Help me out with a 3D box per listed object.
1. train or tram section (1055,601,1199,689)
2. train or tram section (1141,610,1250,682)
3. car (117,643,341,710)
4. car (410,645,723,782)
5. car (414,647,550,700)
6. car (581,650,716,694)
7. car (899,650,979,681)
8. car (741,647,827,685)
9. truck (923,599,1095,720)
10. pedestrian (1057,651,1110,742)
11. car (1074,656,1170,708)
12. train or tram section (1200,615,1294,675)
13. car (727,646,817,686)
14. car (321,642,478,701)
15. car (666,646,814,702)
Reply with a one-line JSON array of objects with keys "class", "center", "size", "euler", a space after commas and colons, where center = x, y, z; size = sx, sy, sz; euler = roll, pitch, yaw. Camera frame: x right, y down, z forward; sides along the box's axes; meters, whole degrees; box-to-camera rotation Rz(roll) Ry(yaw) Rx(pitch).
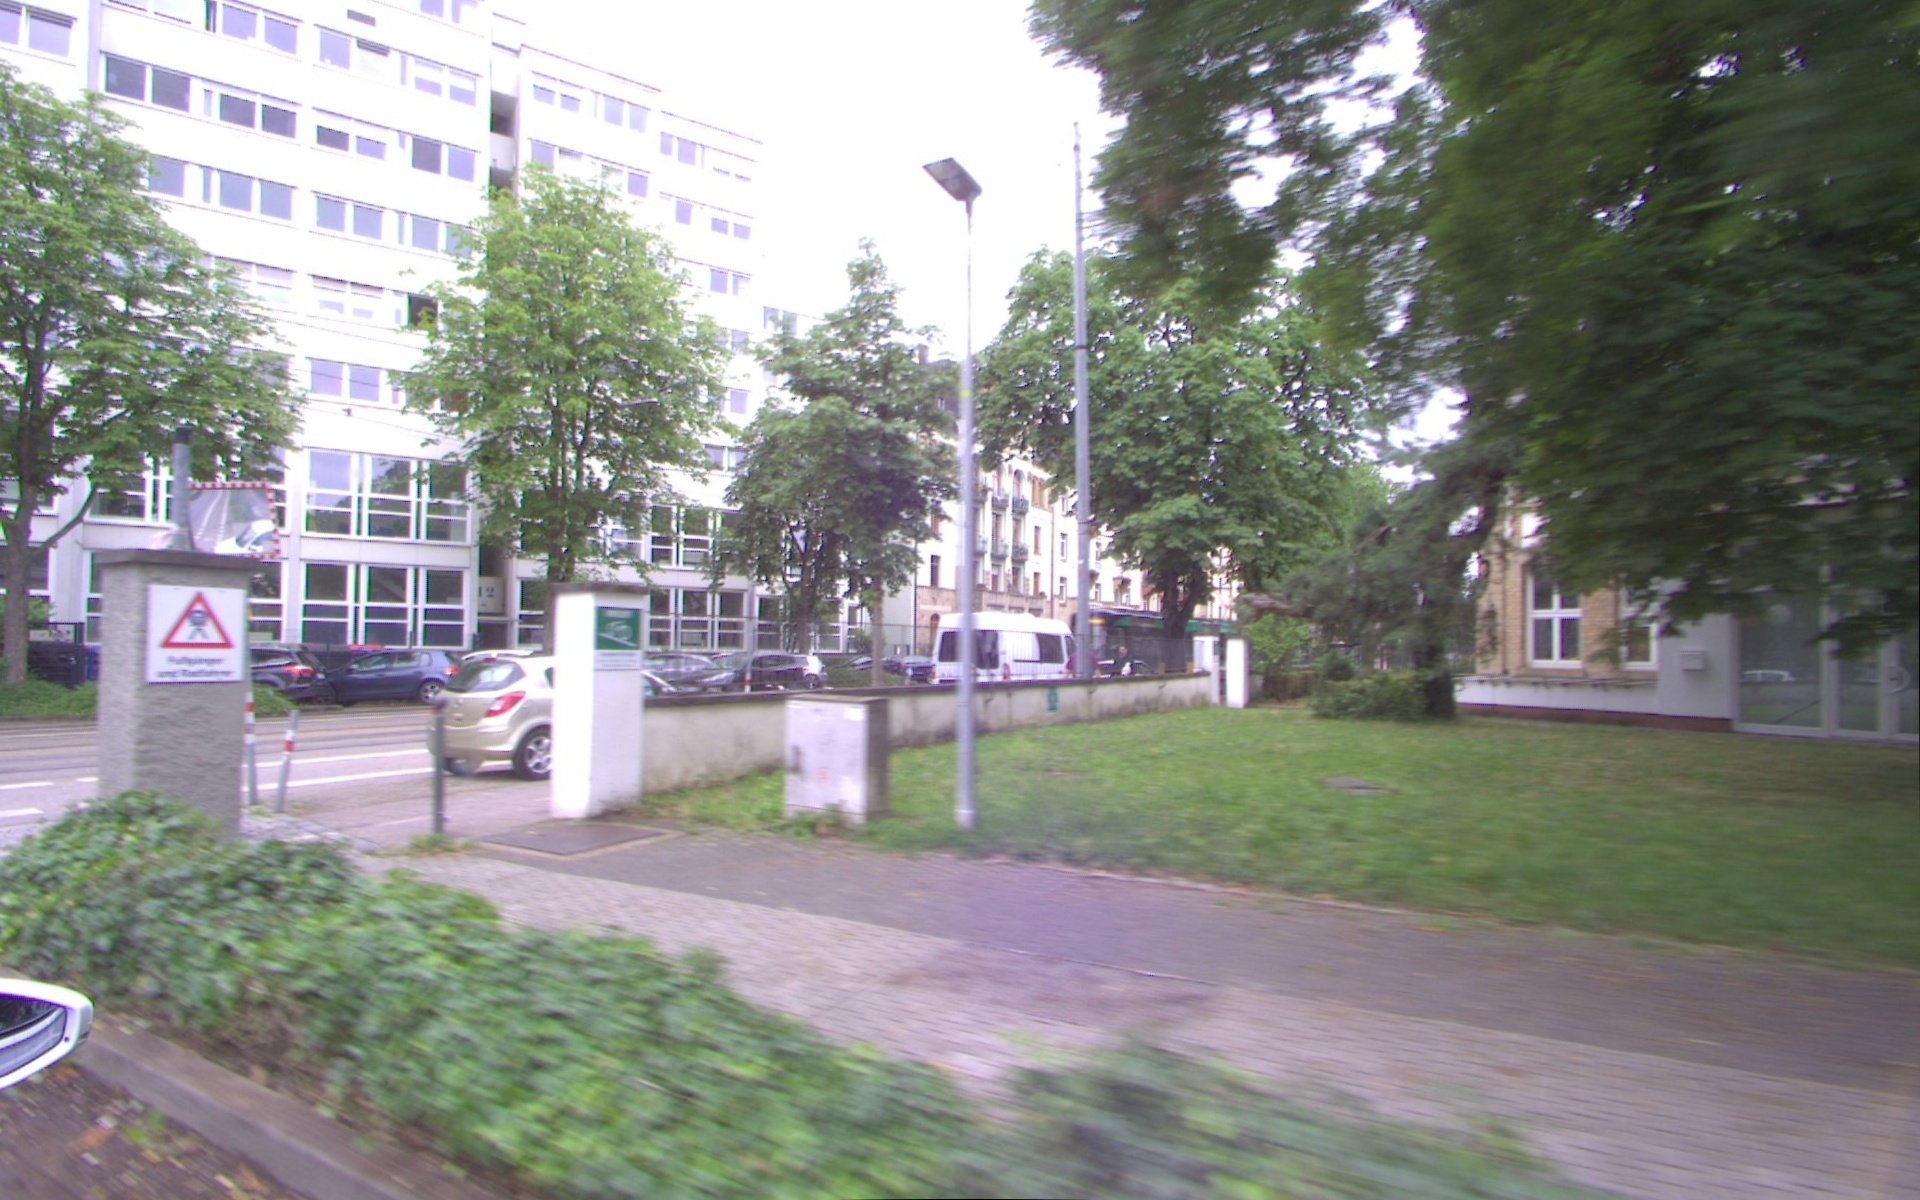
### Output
[{"class": "train or tram section", "center": [8.316, 2.141, 47.752], "size": [2.628, 3.659, 12.407], "euler": [0, -2, 30]}, {"class": "train or tram section", "center": [13.678, 2.611, 57.121], "size": [2.628, 3.659, 12.407], "euler": [0, -2, 30]}, {"class": "car", "center": [-17.102, 1.767, 23.640], "size": [3.885, 1.492, 1.671], "euler": [1, -2, -17]}, {"class": "car", "center": [-5.010, 1.384, 13.207], "size": [1.641, 1.519, 3.579], "euler": [-1, -3, 31]}, {"class": "car", "center": [-13.916, 2.119, 29.297], "size": [3.328, 1.492, 1.416], "euler": [1, -2, -14]}, {"class": "car", "center": [-10.849, 2.527, 35.037], "size": [4.420, 1.491, 1.416], "euler": [1, -5, -18]}, {"class": "car", "center": [-1.062, 3.205, 49.340], "size": [3.723, 1.460, 1.693], "euler": [1, -2, -9]}, {"class": "car", "center": [-7.169, 2.676, 40.681], "size": [3.328, 1.492, 1.416], "euler": [1, -2, -14]}, {"class": "truck", "center": [1.320, 1.398, 24.084], "size": [2.137, 2.578, 4.908], "euler": [-1, -3, 30]}, {"class": "pedestrian", "center": [2.464, 1.890, 19.956], "size": [0.795, 1.740, 0.953], "euler": [0, -2, 24]}, {"class": "car", "center": [4.968, 2.423, 30.304], "size": [1.783, 1.371, 3.799], "euler": [0, -2, 27]}, {"class": "train or tram section", "center": [19.591, 3.026, 67.397], "size": [2.628, 3.659, 14.711], "euler": [0, -3, 30]}, {"class": "car", "center": [-7.247, 2.544, 38.518], "size": [3.328, 1.492, 1.416], "euler": [1, -2, -14]}, {"class": "car", "center": [-14.685, 1.863, 26.378], "size": [3.328, 1.492, 1.416], "euler": [1, -2, -14]}, {"class": "car", "center": [-6.364, 2.123, 29.411], "size": [1.797, 1.508, 4.236], "euler": [-1, -3, 31]}]
